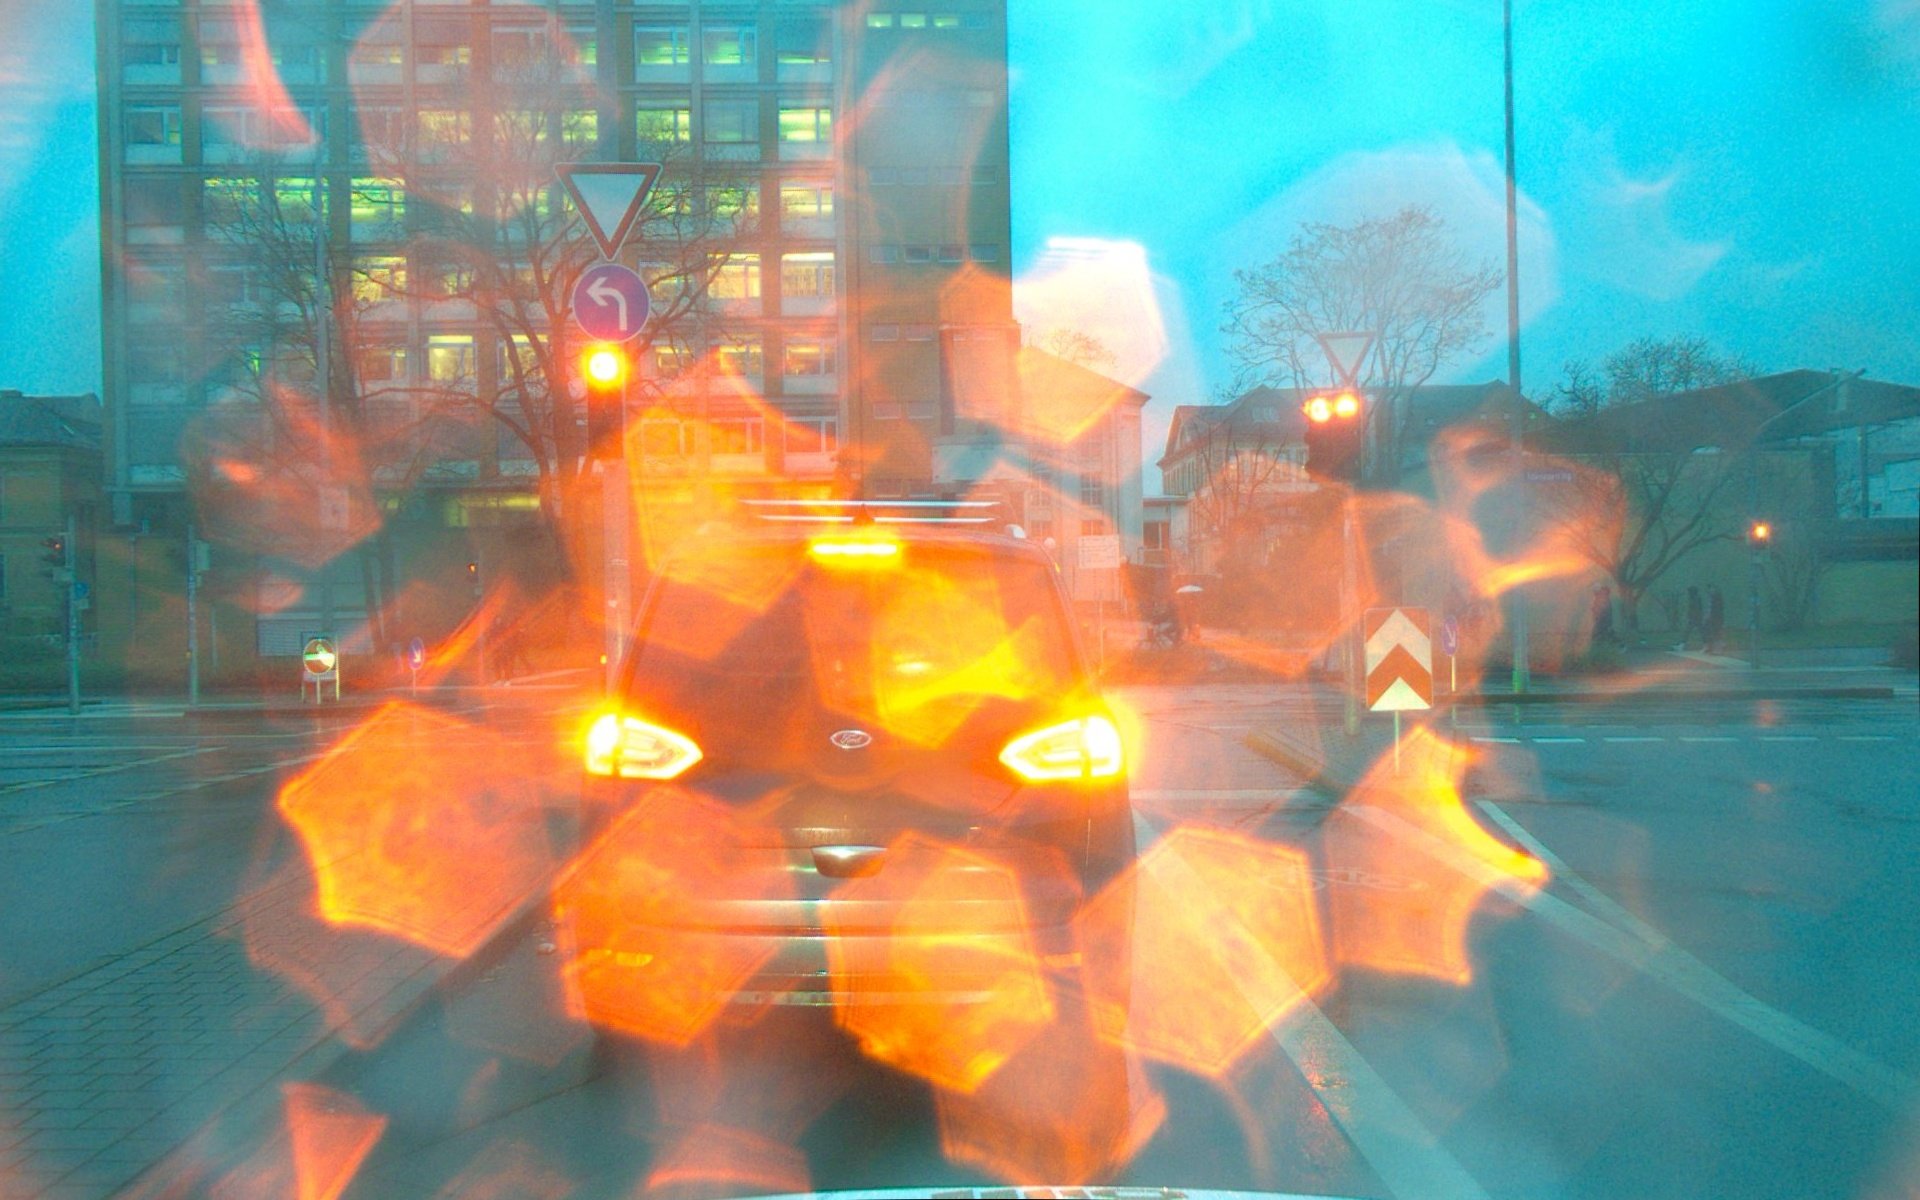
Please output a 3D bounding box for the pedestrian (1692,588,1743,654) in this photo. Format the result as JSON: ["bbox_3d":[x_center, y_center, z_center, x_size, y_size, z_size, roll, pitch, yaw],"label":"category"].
[{"bbox_3d":[18.645,0.509,40.717,0.905,1.559,1.044,-2,0,13],"label":"pedestrian"}]

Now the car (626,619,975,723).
[{"bbox_3d":[-2.232,0.997,23.707,4.583,1.324,1.940,-2,-1,11],"label":"car"}]

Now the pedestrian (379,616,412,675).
[{"bbox_3d":[-16.800,1.351,49.253,0.625,1.718,0.637,-2,0,16],"label":"pedestrian"}]

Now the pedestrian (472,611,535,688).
[{"bbox_3d":[-11.764,1.271,42.617,0.981,1.874,1.139,-2,2,22],"label":"pedestrian"}]

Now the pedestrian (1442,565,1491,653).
[{"bbox_3d":[12.590,0.221,41.106,0.875,2.150,0.886,-2,0,-1],"label":"pedestrian"}]

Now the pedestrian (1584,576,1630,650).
[{"bbox_3d":[16.449,0.317,42.056,0.975,1.831,0.920,-2,0,17],"label":"pedestrian"}]

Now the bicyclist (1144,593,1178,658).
[{"bbox_3d":[5.126,0.646,42.169,0.670,1.627,0.659,-2,0,21],"label":"bicyclist"}]

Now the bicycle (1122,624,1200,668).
[{"bbox_3d":[5.132,1.173,42.184,1.844,1.066,0.659,-2,0,21],"label":"bicycle"}]

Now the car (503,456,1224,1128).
[{"bbox_3d":[-0.287,0.540,6.548,1.953,1.821,3.999,1,0,-1],"label":"car"}]

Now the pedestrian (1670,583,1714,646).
[{"bbox_3d":[18.512,0.359,41.856,0.874,1.559,0.886,-2,0,16],"label":"pedestrian"}]

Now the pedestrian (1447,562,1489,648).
[{"bbox_3d":[12.964,0.125,42.217,0.874,2.150,0.886,-2,0,11],"label":"pedestrian"}]
